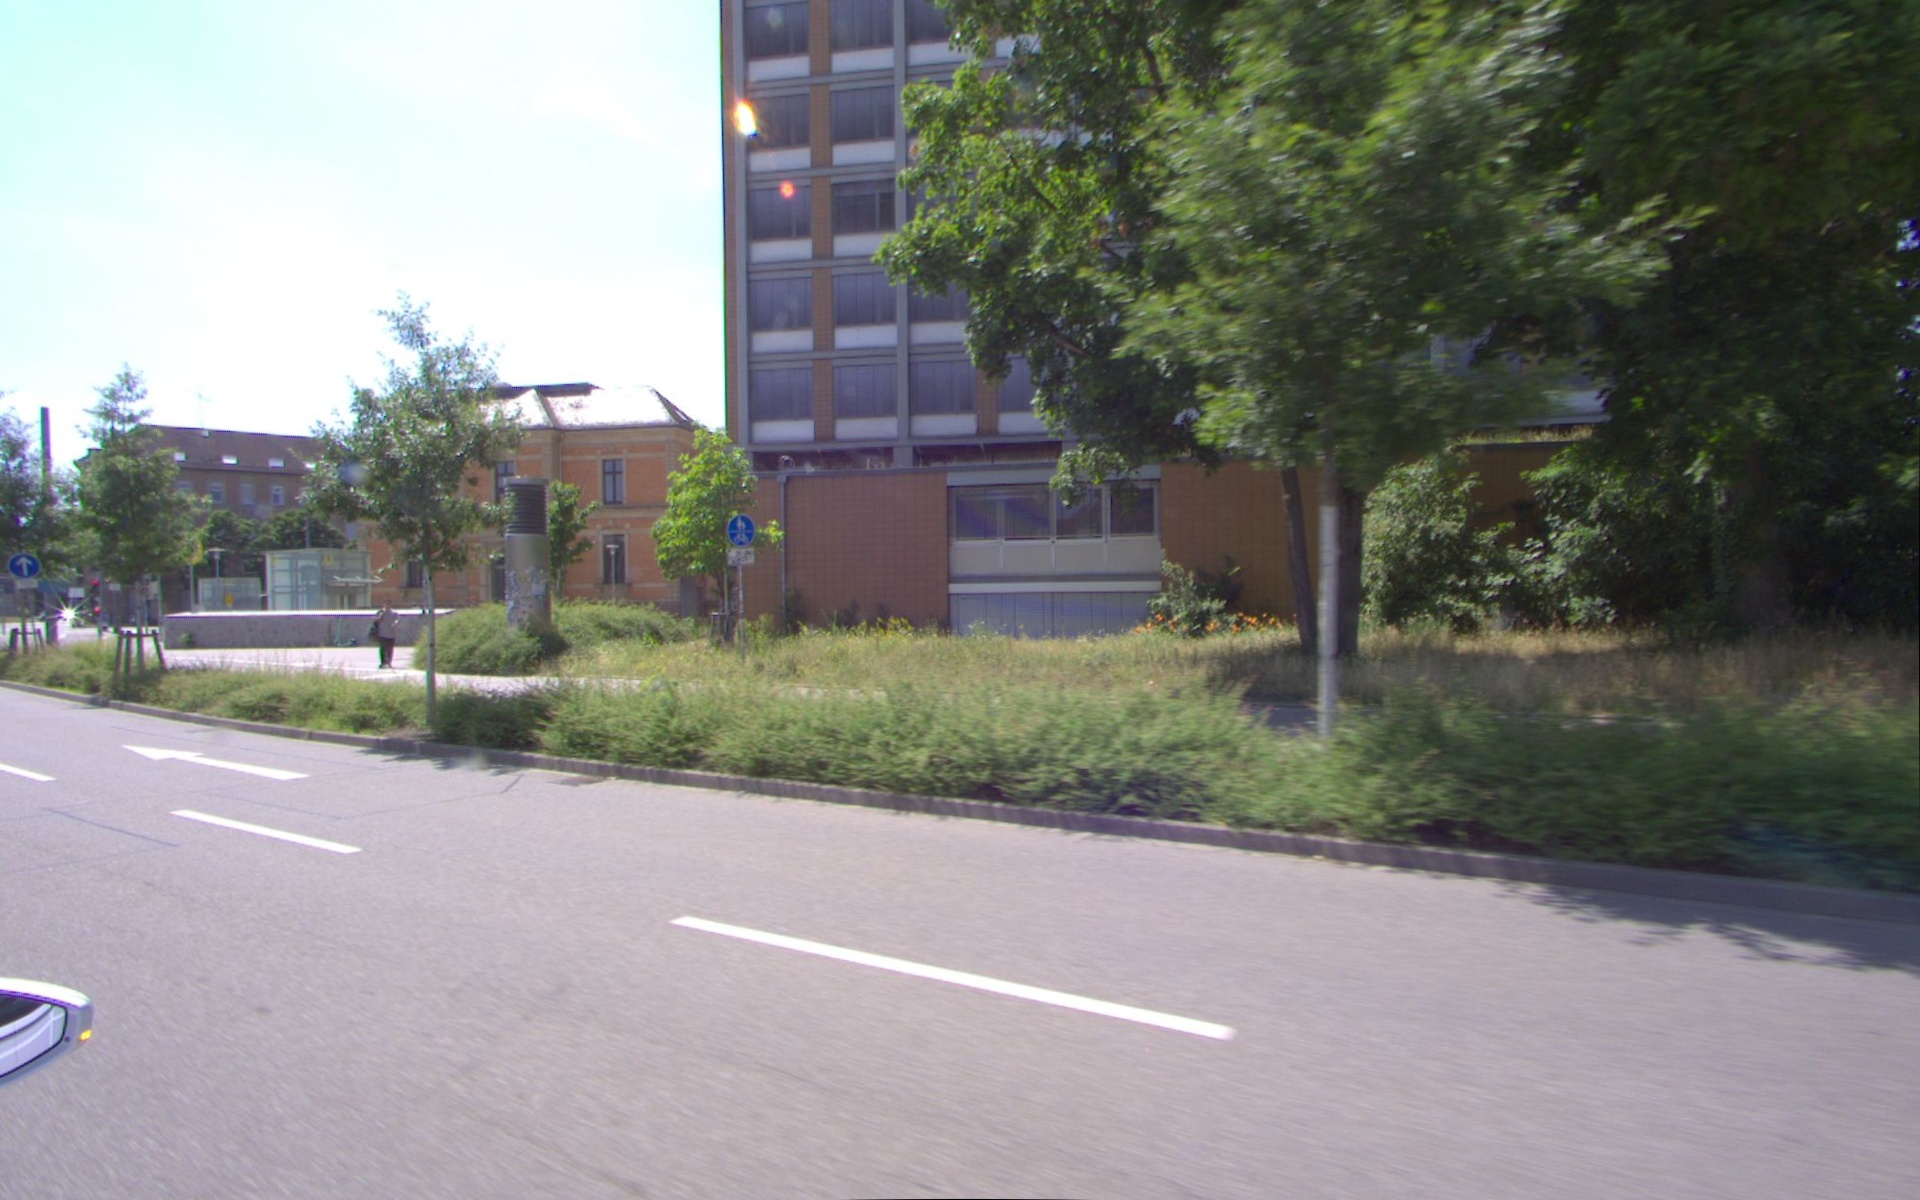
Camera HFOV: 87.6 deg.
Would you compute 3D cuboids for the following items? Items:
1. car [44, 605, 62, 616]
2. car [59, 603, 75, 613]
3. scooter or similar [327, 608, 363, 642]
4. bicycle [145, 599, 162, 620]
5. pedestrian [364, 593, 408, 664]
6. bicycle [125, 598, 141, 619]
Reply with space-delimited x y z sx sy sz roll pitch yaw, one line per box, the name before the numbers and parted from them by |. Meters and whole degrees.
car | -136.672 1.607 150.904 3.508 1.478 1.524 2 1 40
car | -150.269 1.331 168.461 3.670 1.549 1.578 2 1 40
scooter or similar | -22.613 0.922 36.809 1.266 1.183 0.397 2 1 17
bicycle | -73.398 0.829 91.087 3.142 1.812 0.609 2 1 40
pedestrian | -14.331 0.696 24.985 0.801 1.728 0.728 1 0 41
bicycle | -74.364 0.732 90.035 3.142 1.812 0.609 2 1 40
